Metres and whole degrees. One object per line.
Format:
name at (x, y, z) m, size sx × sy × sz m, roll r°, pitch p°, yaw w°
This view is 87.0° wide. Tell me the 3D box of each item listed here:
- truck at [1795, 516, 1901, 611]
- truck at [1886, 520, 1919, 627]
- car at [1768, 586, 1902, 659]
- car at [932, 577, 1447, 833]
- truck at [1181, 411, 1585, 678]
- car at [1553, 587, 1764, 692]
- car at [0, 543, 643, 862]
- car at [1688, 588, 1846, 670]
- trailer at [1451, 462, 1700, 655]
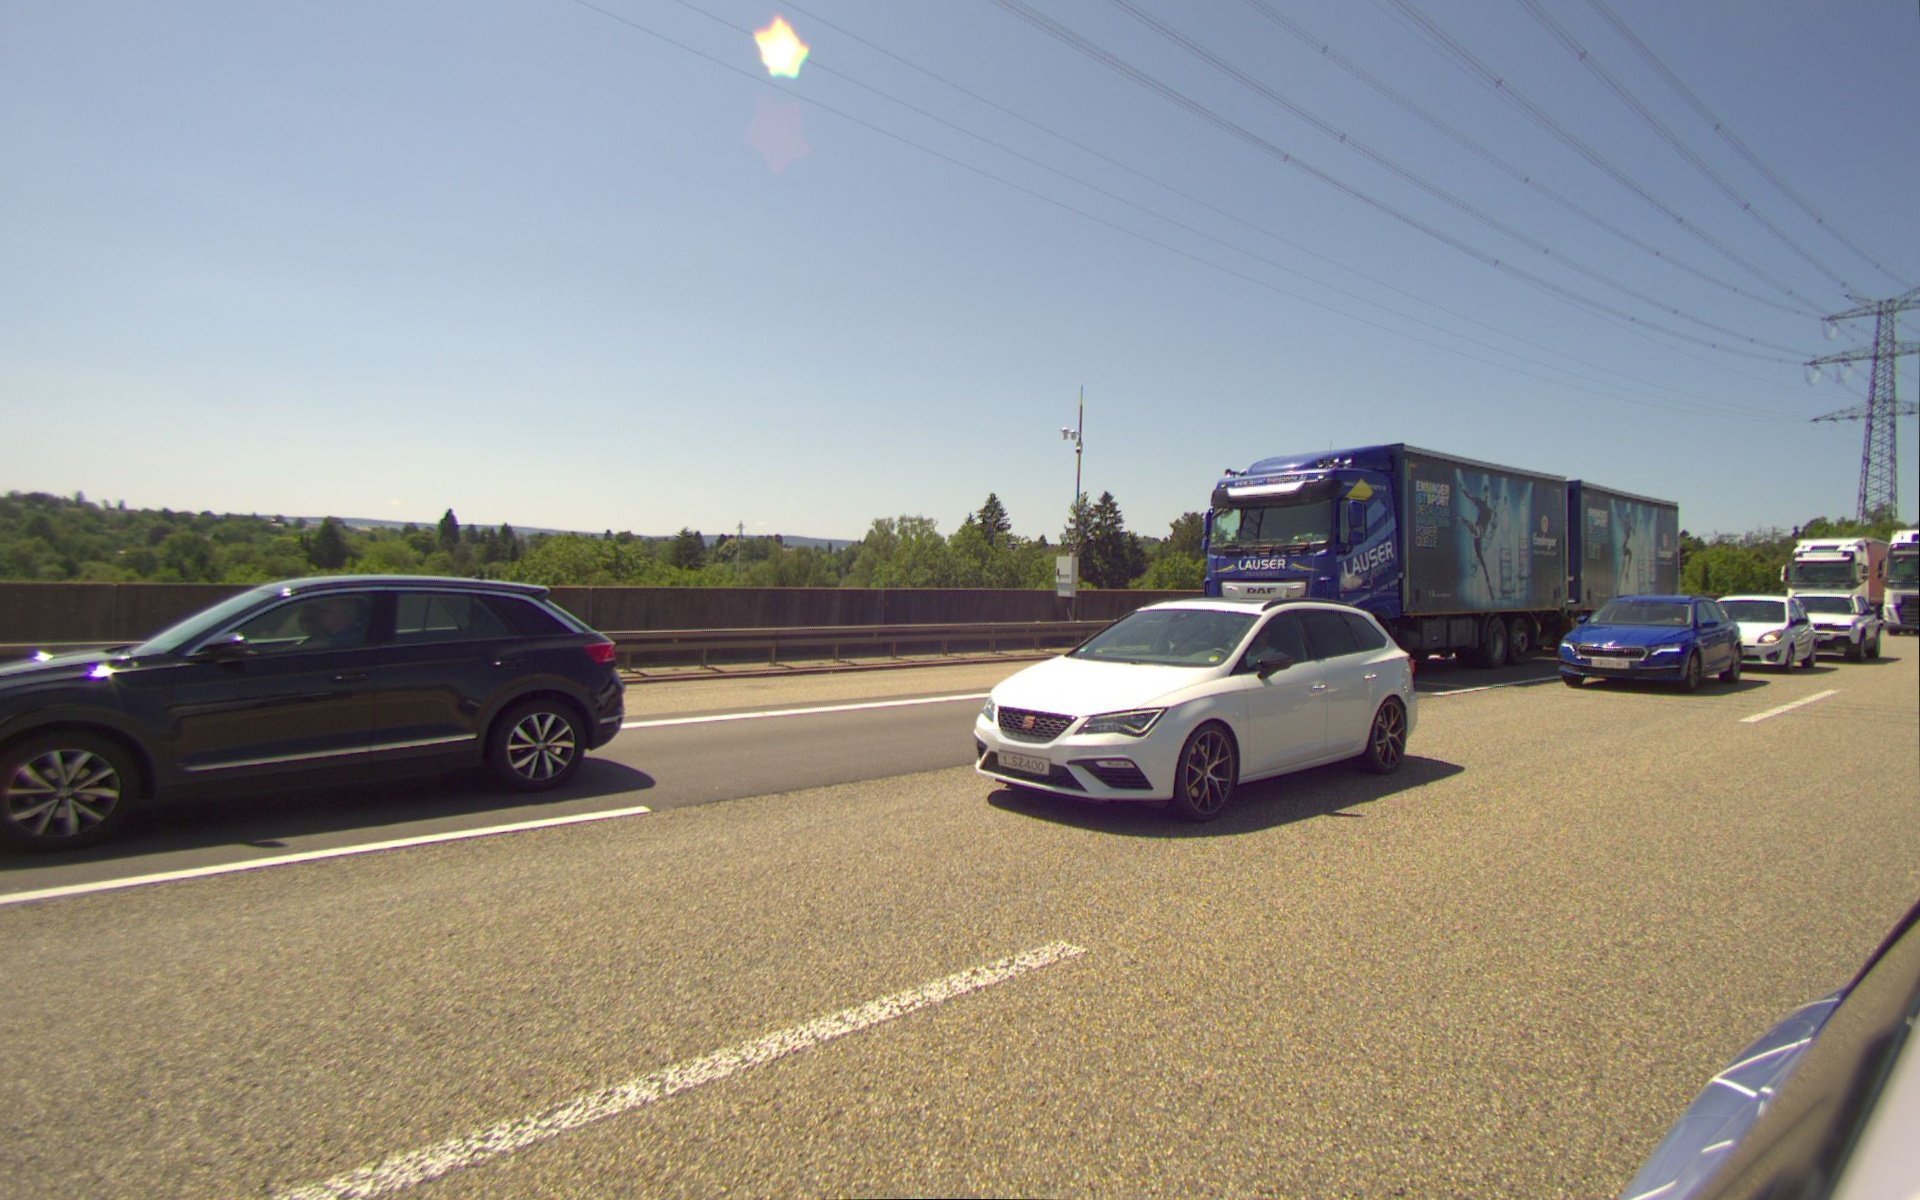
truck at (40.711, -1.597, 46.305) m, size 8.121 × 4.038 × 2.606 m, roll -1°, pitch 0°, yaw -41°
truck at (38.100, -1.022, 38.868) m, size 8.121 × 3.874 × 2.847 m, roll -1°, pitch 0°, yaw -41°
car at (20.235, 0.462, 23.353) m, size 4.071 × 1.529 × 1.712 m, roll -1°, pitch 1°, yaw -40°
car at (1.995, 0.603, 7.911) m, size 4.352 × 1.470 × 1.711 m, roll 0°, pitch 0°, yaw -41°
truck at (8.634, -0.908, 19.593) m, size 10.210 × 3.999 × 2.857 m, roll -1°, pitch 0°, yaw -40°
car at (11.443, 0.538, 16.458) m, size 4.483 × 1.470 × 1.712 m, roll -1°, pitch 1°, yaw -40°
car at (-4.478, 0.516, 6.967) m, size 4.046 × 1.675 × 1.711 m, roll -1°, pitch 1°, yaw -41°
car at (16.320, 0.514, 20.403) m, size 4.071 × 1.470 × 1.712 m, roll -1°, pitch 1°, yaw -40°
trailer at (15.770, -0.953, 25.614) m, size 8.485 × 4.140 × 2.833 m, roll -1°, pitch 0°, yaw -40°
